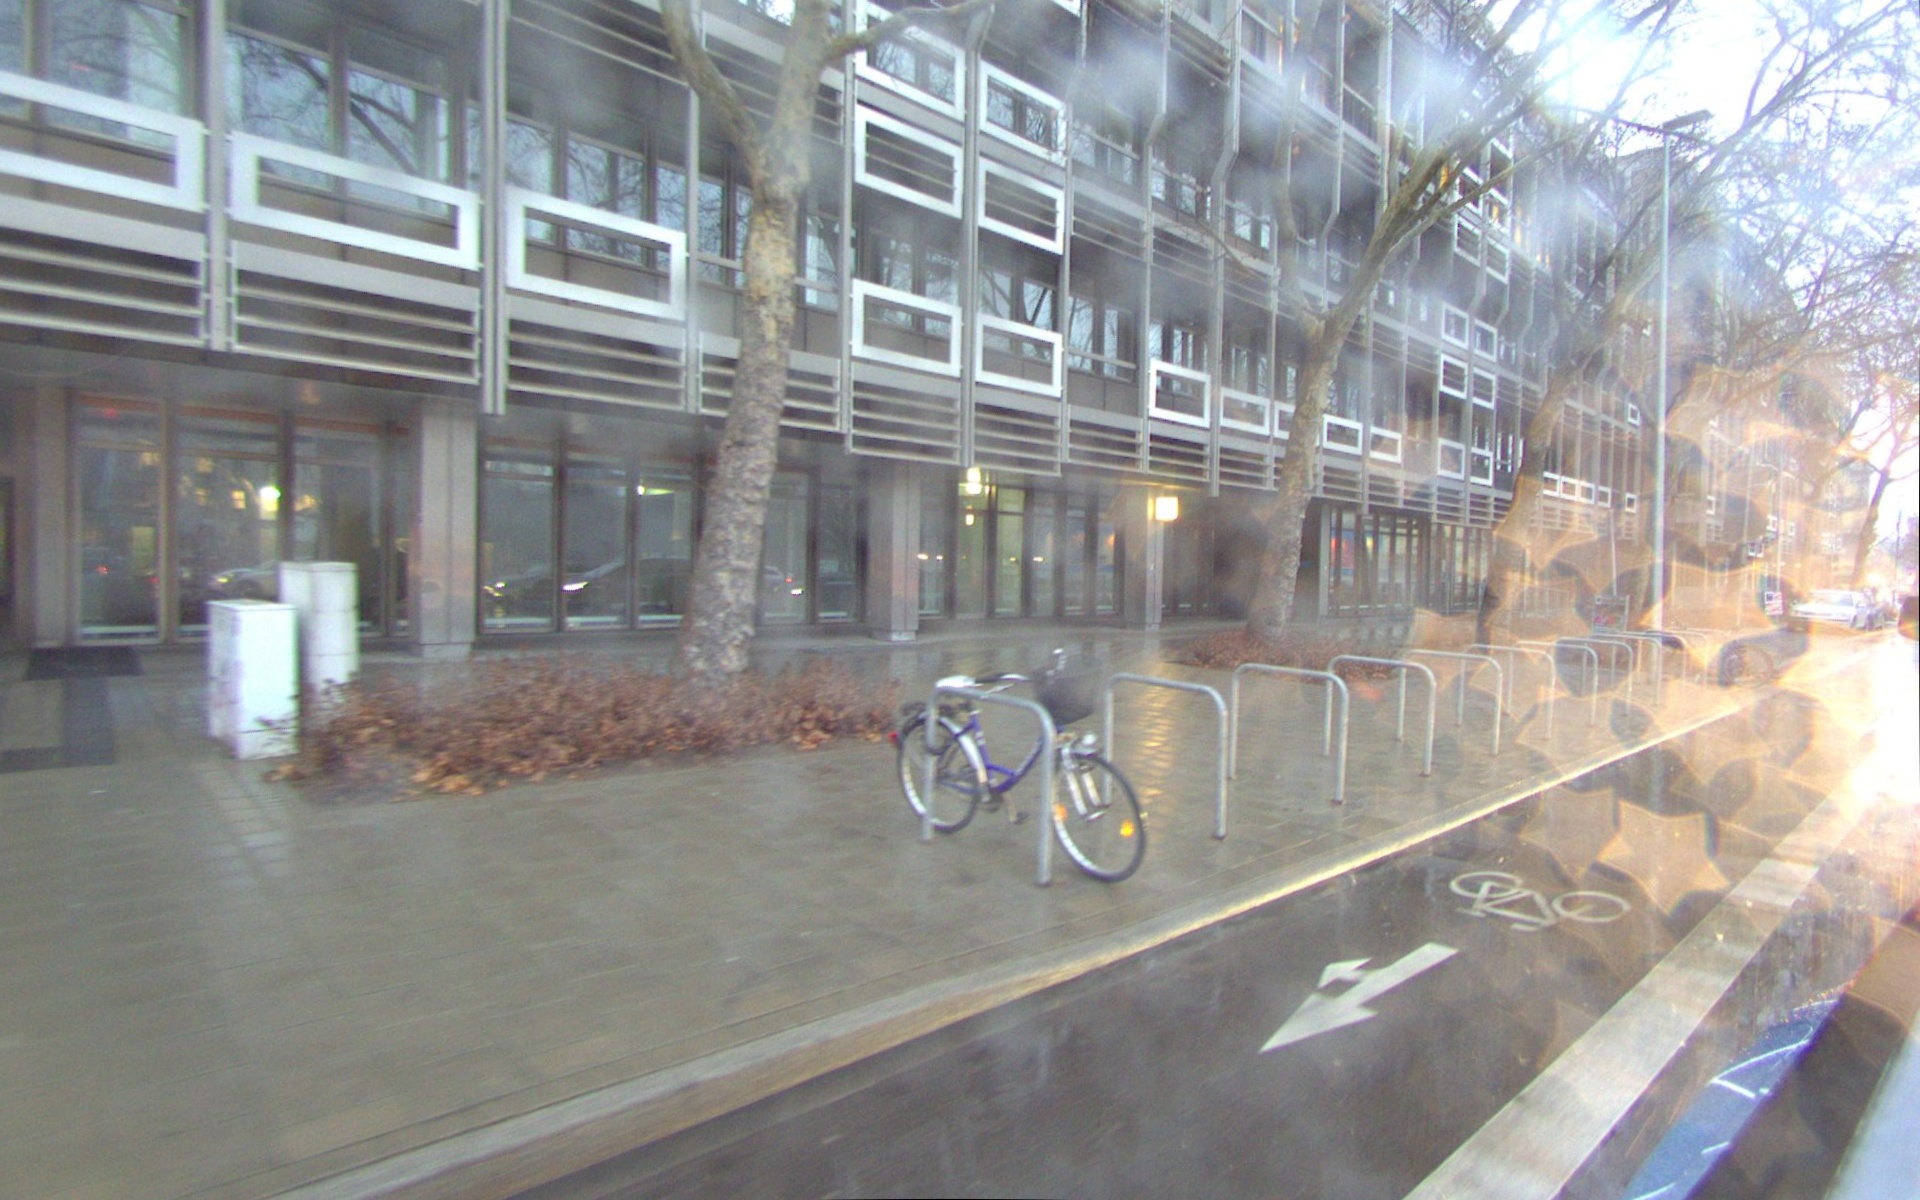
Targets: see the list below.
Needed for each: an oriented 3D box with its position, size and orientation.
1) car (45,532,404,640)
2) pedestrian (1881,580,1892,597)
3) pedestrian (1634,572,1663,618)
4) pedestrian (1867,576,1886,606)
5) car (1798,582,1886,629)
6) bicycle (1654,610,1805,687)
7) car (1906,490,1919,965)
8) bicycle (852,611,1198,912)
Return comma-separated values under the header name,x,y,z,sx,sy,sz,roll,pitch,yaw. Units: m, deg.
name,x,y,z,sx,sy,sz,roll,pitch,yaw
car,-10.353,-0.239,14.461,3.929,1.326,1.999,-1,3,-40
pedestrian,98.210,-1.257,107.304,0.765,1.771,0.913,2,2,45
pedestrian,27.500,-0.211,40.430,0.765,1.771,0.913,2,2,45
pedestrian,56.019,-0.550,61.870,0.765,1.771,0.913,2,2,45
car,29.682,0.137,34.036,3.930,1.482,1.711,-1,1,-41
bicycle,12.075,0.721,15.915,0.864,1.004,1.704,-1,4,-41
car,5.791,0.479,4.692,3.934,1.864,1.874,-1,1,-44
bicycle,0.250,0.698,5.178,0.629,1.145,1.810,2,2,-41
